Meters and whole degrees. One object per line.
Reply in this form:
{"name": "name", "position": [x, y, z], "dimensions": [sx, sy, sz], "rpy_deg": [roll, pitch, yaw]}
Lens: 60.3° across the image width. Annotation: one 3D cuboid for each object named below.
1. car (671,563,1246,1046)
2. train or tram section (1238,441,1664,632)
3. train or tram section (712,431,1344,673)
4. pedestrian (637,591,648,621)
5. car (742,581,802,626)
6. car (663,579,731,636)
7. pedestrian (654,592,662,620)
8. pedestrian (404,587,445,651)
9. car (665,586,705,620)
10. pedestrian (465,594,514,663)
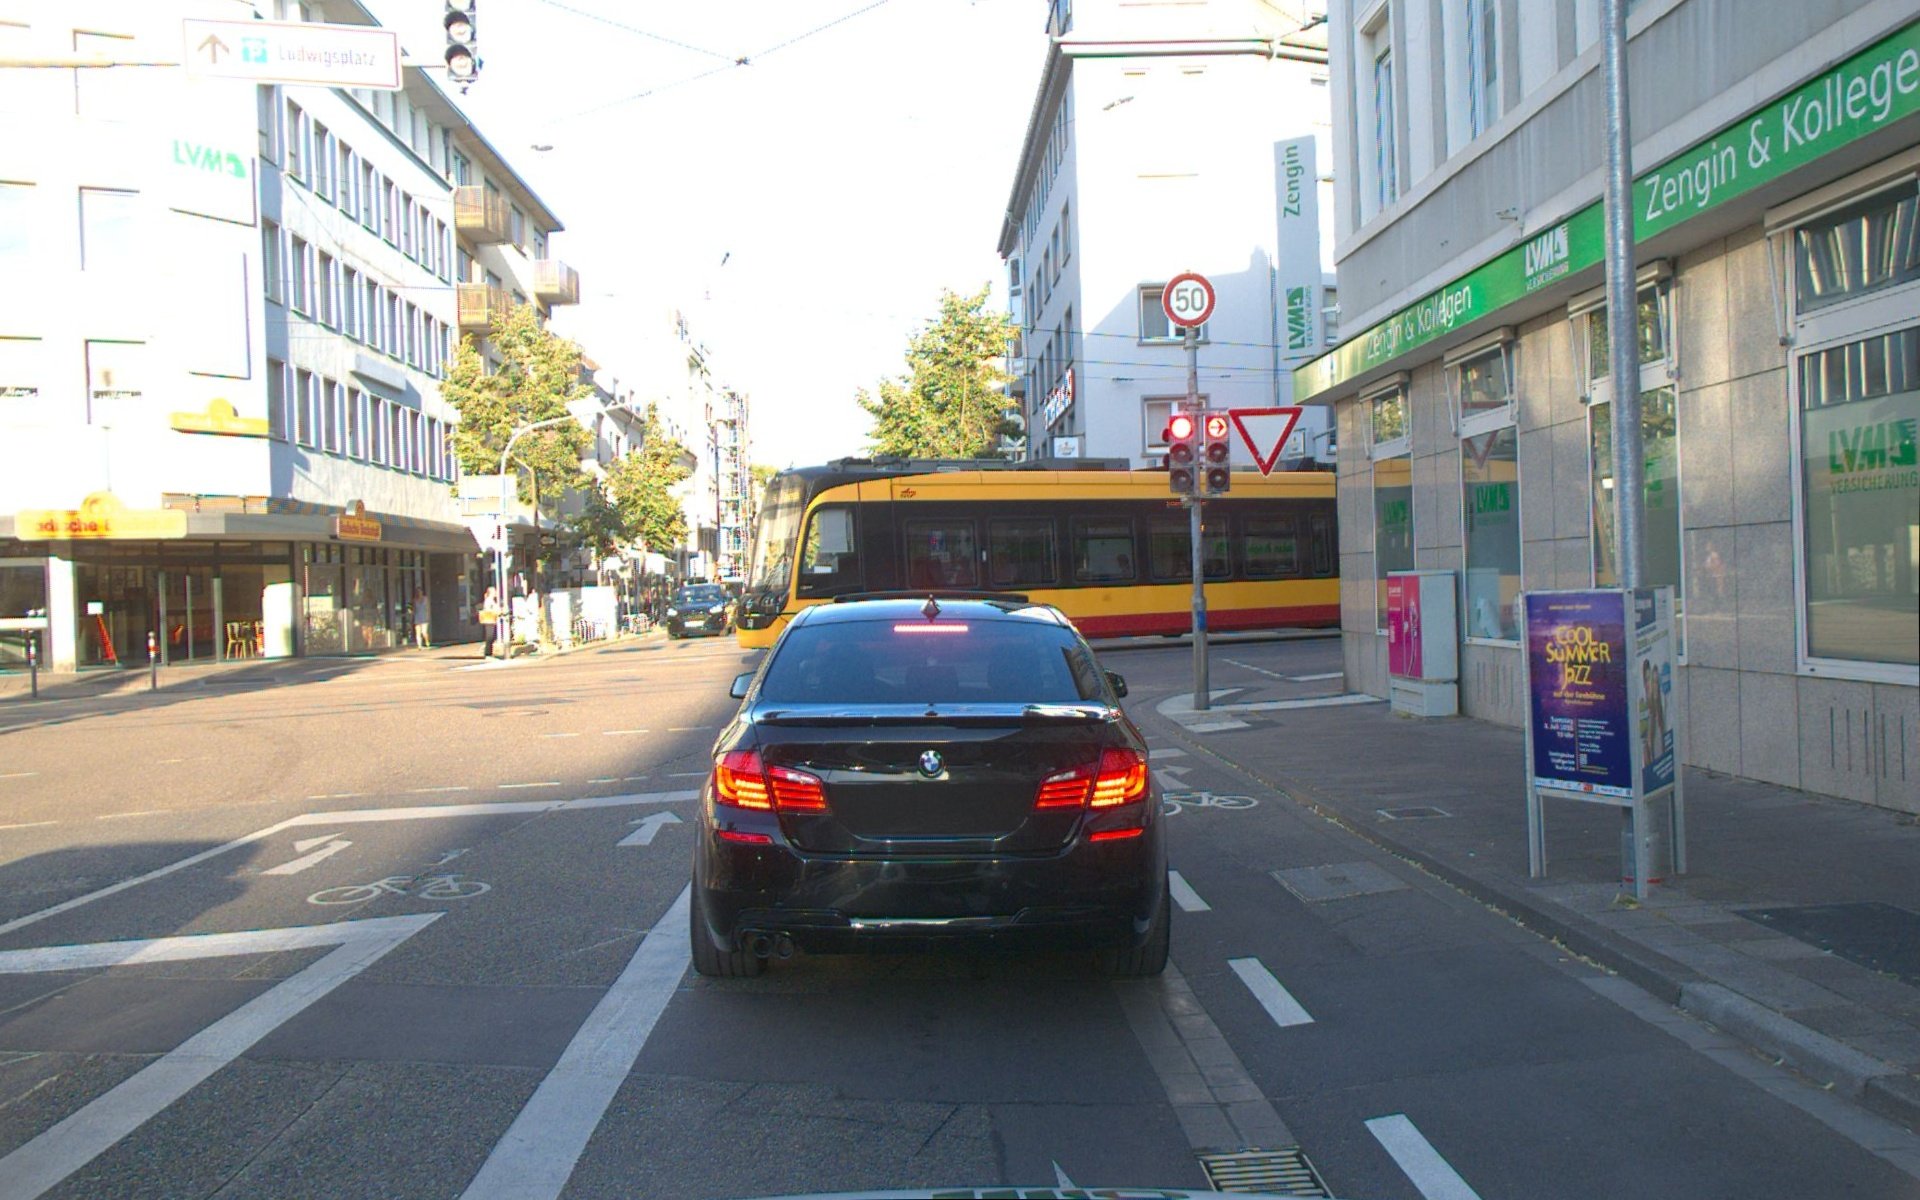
{"name": "car", "position": [-0.115, 0.649, 7.638], "dimensions": [1.865, 1.567, 4.447], "rpy_deg": [1, 1, -3]}
{"name": "train or tram section", "position": [11.339, -1.503, 37.592], "dimensions": [10.319, 3.877, 3.049], "rpy_deg": [-3, 1, -31]}
{"name": "train or tram section", "position": [1.693, -1.028, 31.523], "dimensions": [12.498, 3.932, 3.047], "rpy_deg": [-3, 1, -33]}
{"name": "pedestrian", "position": [-15.566, 0.283, 81.099], "dimensions": [0.435, 1.441, 0.525], "rpy_deg": [-2, 0, -4]}
{"name": "car", "position": [-6.580, 0.107, 57.553], "dimensions": [1.956, 1.467, 3.993], "rpy_deg": [-2, 1, -8]}
{"name": "car", "position": [-8.253, 0.221, 52.085], "dimensions": [1.956, 1.646, 3.993], "rpy_deg": [-2, 1, -8]}
{"name": "pedestrian", "position": [-14.872, 0.281, 81.468], "dimensions": [0.301, 1.383, 0.284], "rpy_deg": [-2, 0, -11]}
{"name": "pedestrian", "position": [-14.833, 0.520, 45.834], "dimensions": [0.807, 1.705, 0.871], "rpy_deg": [-2, 0, -3]}
{"name": "car", "position": [-13.067, 0.128, 78.802], "dimensions": [1.701, 1.487, 3.993], "rpy_deg": [-2, 1, -8]}
{"name": "pedestrian", "position": [-11.116, 0.665, 39.094], "dimensions": [0.927, 1.564, 0.907], "rpy_deg": [-2, 0, -6]}
